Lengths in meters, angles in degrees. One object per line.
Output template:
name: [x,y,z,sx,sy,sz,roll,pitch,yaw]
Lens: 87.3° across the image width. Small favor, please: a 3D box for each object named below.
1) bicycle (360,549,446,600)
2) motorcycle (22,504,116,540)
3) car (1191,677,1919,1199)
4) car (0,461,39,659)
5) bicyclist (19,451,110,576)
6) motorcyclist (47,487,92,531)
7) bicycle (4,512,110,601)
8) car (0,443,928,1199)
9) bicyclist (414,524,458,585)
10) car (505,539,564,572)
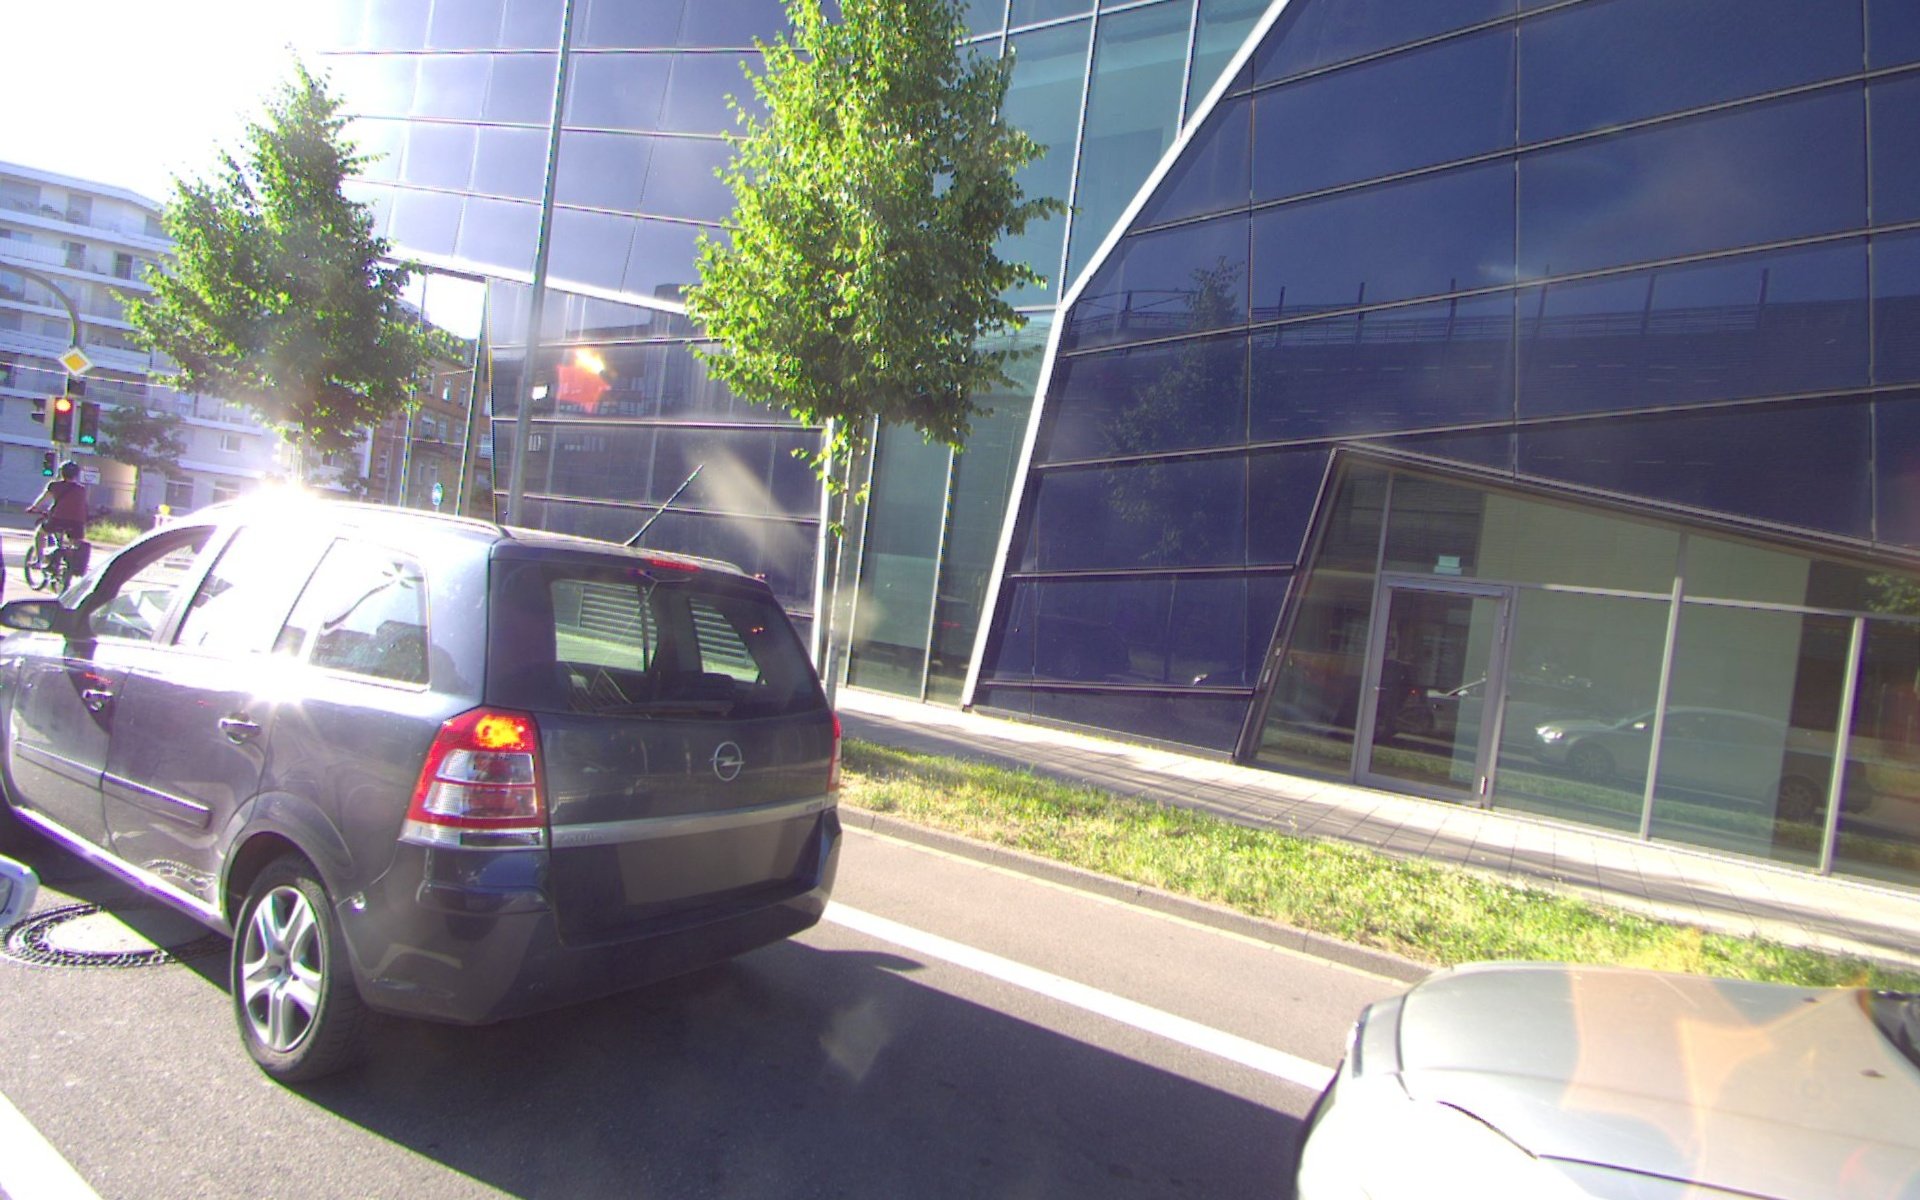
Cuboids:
bicycle: [-16.807,-0.768,30.424,2.052,1.278,0.765,7,0,-19]
motorcycle: [-34.670,-3.027,39.176,1.152,1.013,2.455,7,0,32]
car: [2.750,1.167,1.152,4.553,1.499,1.747,7,0,33]
car: [-10.706,-0.668,9.298,4.299,1.735,2.007,8,-1,32]
bicyclist: [-12.917,-1.248,14.503,0.956,1.663,0.654,8,1,35]
motorcyclist: [-34.630,-3.545,39.124,1.152,1.500,0.925,7,1,33]
bicycle: [-13.015,-0.643,14.483,1.899,1.056,0.654,8,1,35]
car: [-2.443,0.445,4.098,4.190,1.715,1.749,7,-2,32]
bicyclist: [-15.965,-1.372,30.650,0.917,1.728,0.765,7,1,-19]
car: [-37.900,-3.937,89.746,4.540,2.339,1.990,7,0,-22]
